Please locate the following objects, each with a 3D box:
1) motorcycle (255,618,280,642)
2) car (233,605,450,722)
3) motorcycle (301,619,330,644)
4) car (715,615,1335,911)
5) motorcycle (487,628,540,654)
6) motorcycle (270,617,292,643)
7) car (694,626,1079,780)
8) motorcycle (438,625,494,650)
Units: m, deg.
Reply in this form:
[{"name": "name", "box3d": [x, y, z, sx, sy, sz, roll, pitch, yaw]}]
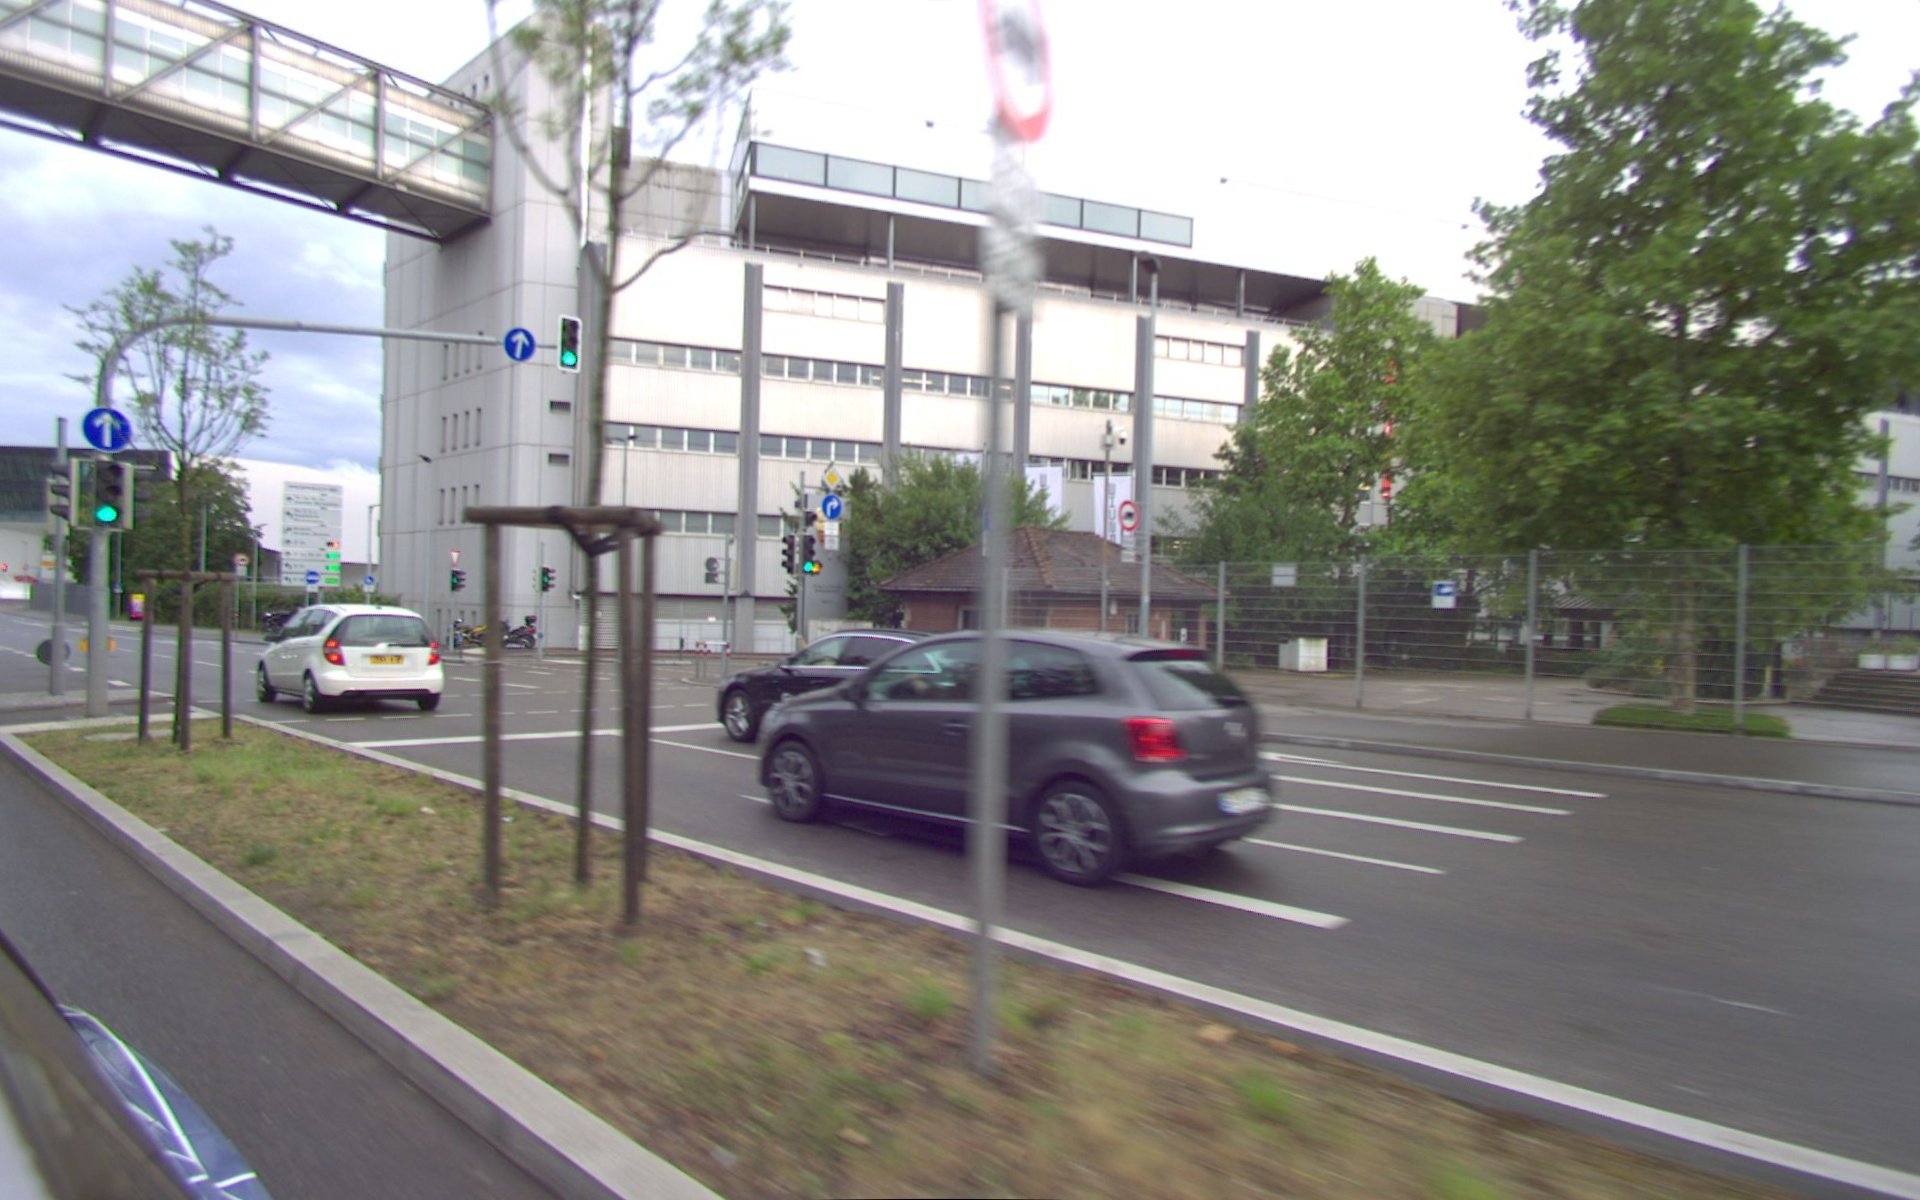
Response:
[{"name": "motorcycle", "box3d": [-37.188, 1.602, 54.335, 1.967, 1.224, 0.618, 0, -2, 42]}, {"name": "car", "box3d": [-9.912, 0.909, 16.062, 4.485, 1.602, 1.752, 0, -2, 43]}, {"name": "motorcycle", "box3d": [-31.199, 1.535, 48.999, 2.037, 1.171, 0.561, 0, -2, 40]}, {"name": "car", "box3d": [0.210, 0.839, 6.877, 4.110, 1.414, 1.561, 0, -3, 42]}, {"name": "motorcycle", "box3d": [-19.066, 1.754, 43.225, 2.150, 1.035, 0.624, 1, -2, 15]}, {"name": "motorcycle", "box3d": [-35.223, 1.541, 52.463, 0.617, 1.277, 2.173, 0, -1, -43]}, {"name": "car", "box3d": [-1.015, 1.051, 11.820, 4.613, 1.414, 1.754, 0, -2, 42]}, {"name": "motorcycle", "box3d": [-21.244, 1.612, 43.565, 2.144, 1.035, 0.625, 1, -2, 7]}]
